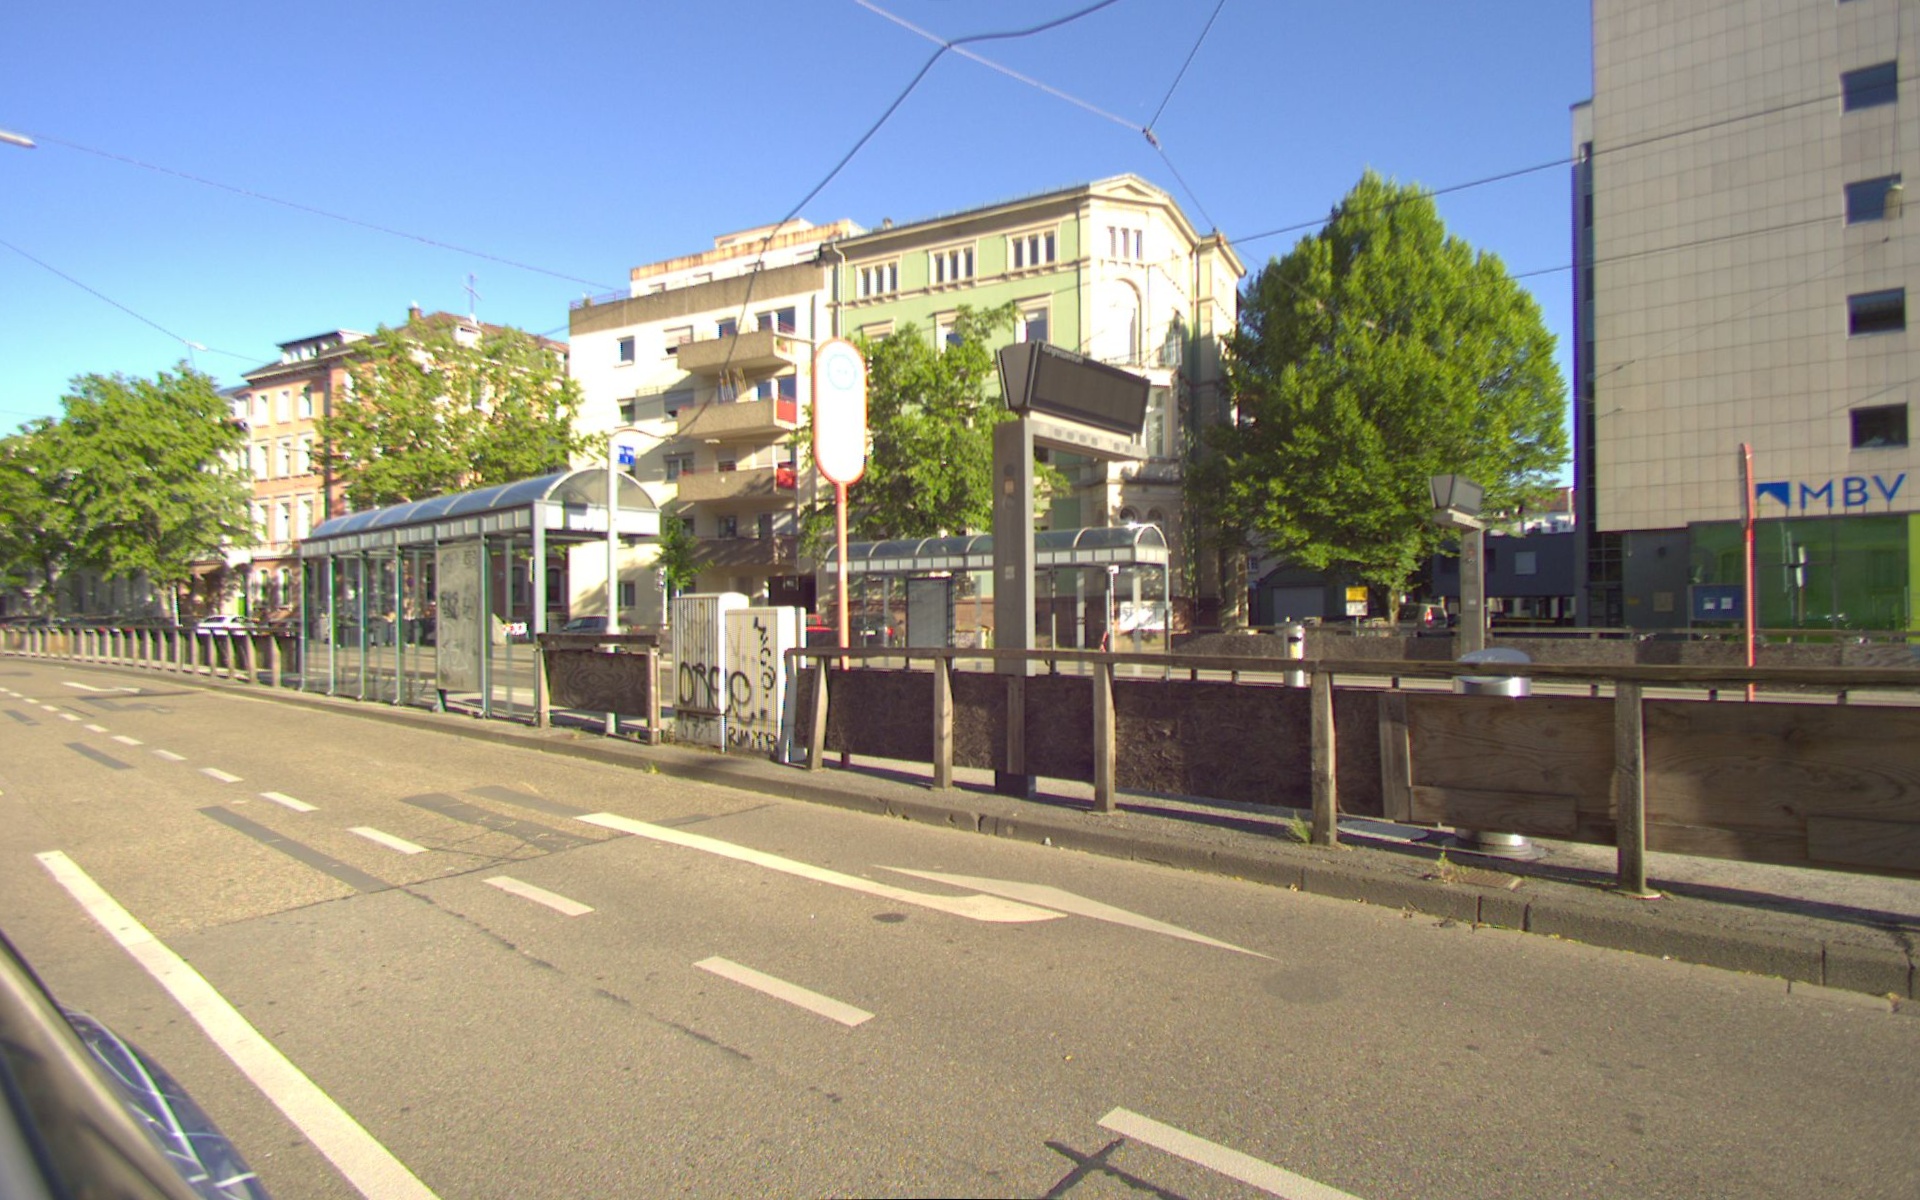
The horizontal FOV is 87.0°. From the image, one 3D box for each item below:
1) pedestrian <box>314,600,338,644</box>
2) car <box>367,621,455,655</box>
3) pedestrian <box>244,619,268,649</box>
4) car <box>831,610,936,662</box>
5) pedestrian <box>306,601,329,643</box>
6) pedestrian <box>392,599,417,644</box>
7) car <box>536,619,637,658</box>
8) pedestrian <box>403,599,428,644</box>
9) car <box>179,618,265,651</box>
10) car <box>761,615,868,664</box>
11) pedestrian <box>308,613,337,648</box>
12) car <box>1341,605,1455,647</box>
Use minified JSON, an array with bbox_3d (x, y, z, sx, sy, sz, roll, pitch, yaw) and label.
[{"bbox_3d":[-33.058,1.146,52.786,0.753,2.224,0.804,-1,-2,30],"label":"pedestrian"},{"bbox_3d":[-23.705,1.607,43.666,3.986,1.407,1.592,-1,-2,32],"label":"car"},{"bbox_3d":[-38.405,1.863,55.213,0.853,1.641,0.894,0,-1,-19],"label":"pedestrian"},{"bbox_3d":[-2.461,1.156,33.495,1.754,1.594,3.965,-1,-1,26],"label":"car"},{"bbox_3d":[-34.218,1.160,53.915,0.755,2.224,0.803,-1,-2,36],"label":"pedestrian"},{"bbox_3d":[-27.837,1.078,50.688,0.753,2.224,0.804,-1,-2,30],"label":"pedestrian"},{"bbox_3d":[-14.297,1.461,38.689,3.725,1.438,1.637,-1,-1,29],"label":"car"},{"bbox_3d":[-27.021,1.067,50.205,0.753,2.224,0.804,-1,-2,30],"label":"pedestrian"},{"bbox_3d":[-39.564,1.816,54.365,1.825,1.721,4.130,0,-1,-5],"label":"car"},{"bbox_3d":[-4.895,1.310,34.540,1.754,1.594,3.965,-1,-1,26],"label":"car"},{"bbox_3d":[-31.878,1.521,50.608,1.016,1.733,0.846,-1,-2,32],"label":"pedestrian"},{"bbox_3d":[15.732,0.894,36.464,1.544,1.423,3.430,-1,0,-38],"label":"car"}]
